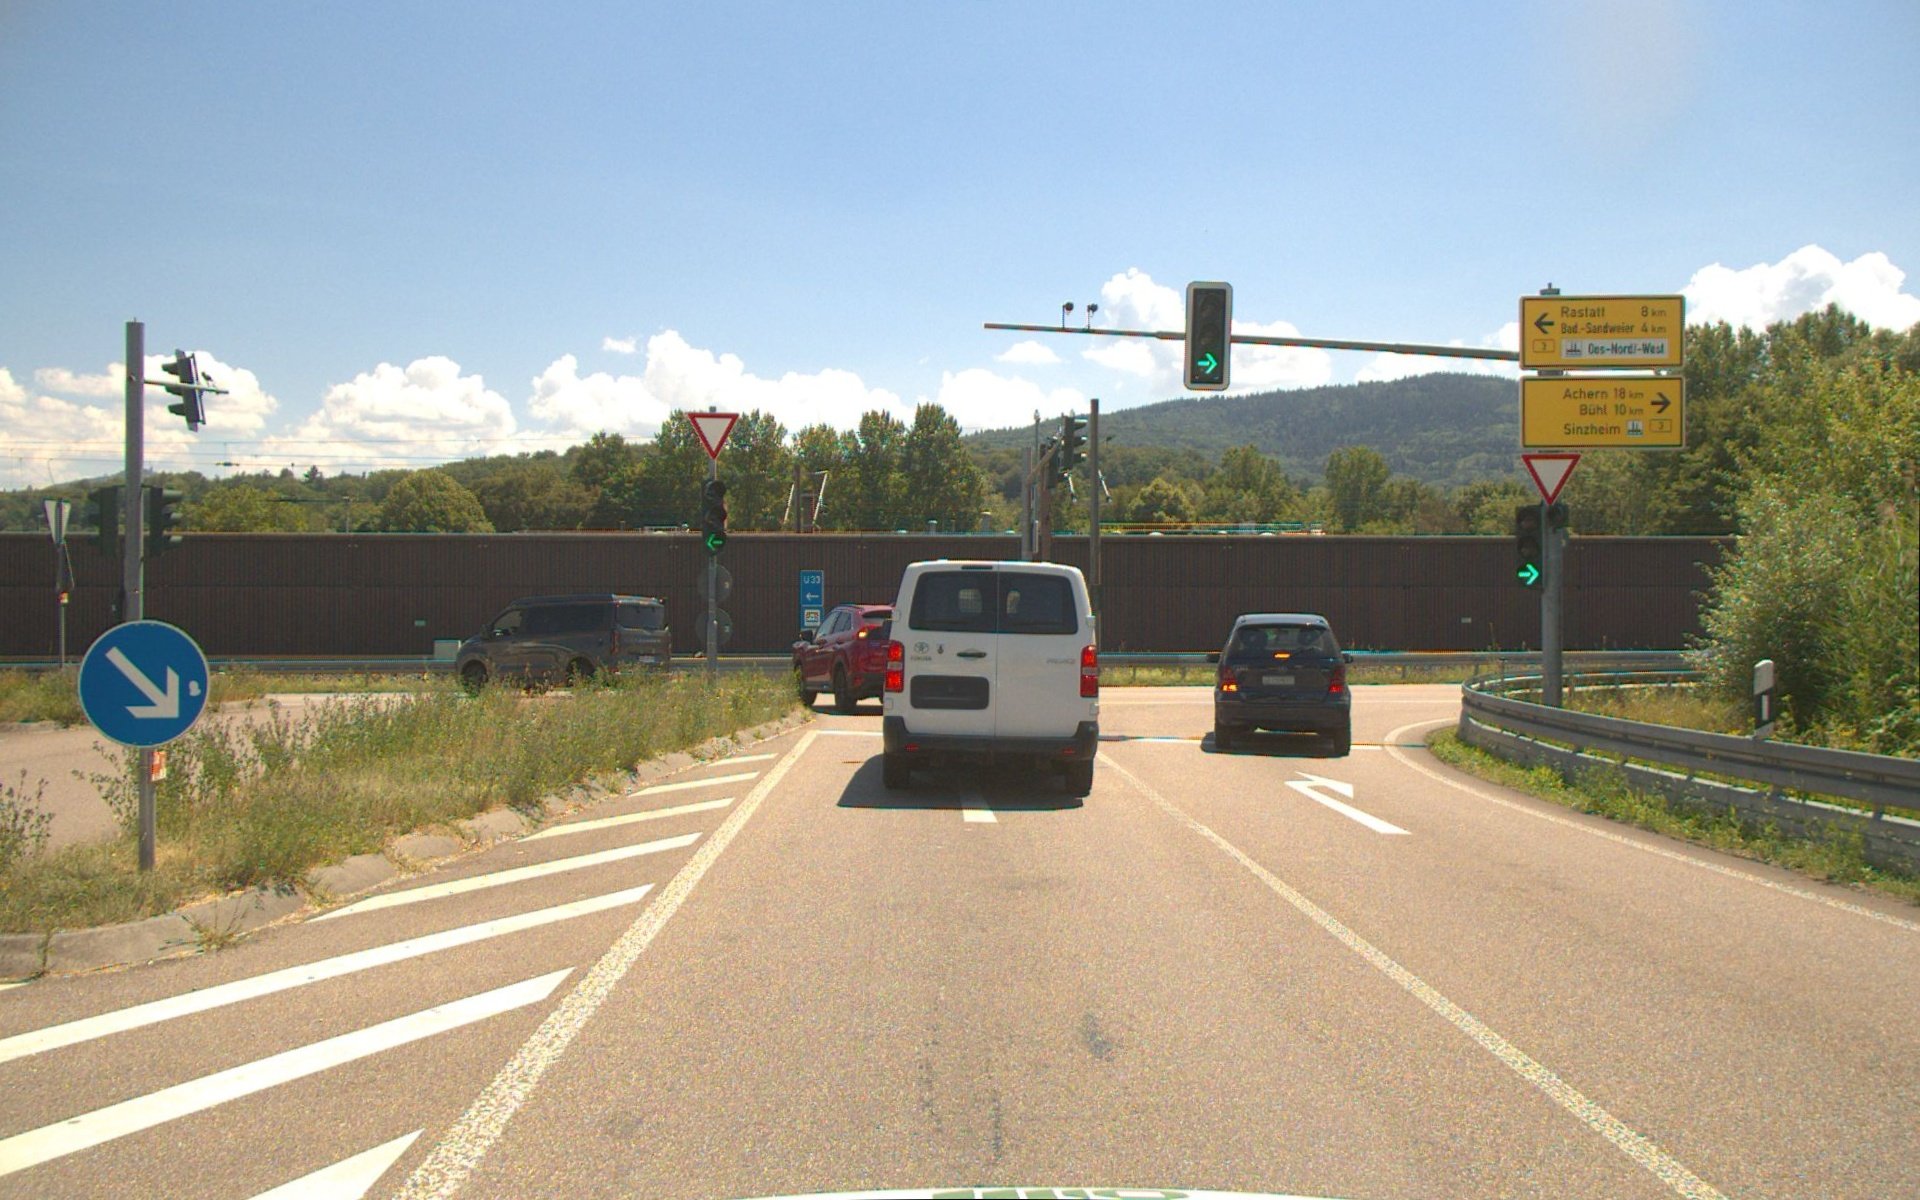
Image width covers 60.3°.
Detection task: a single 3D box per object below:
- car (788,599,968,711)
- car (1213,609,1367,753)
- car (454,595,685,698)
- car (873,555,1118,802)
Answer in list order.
[{"bbox_3d":[-1.423,0.897,27.014,1.877,1.678,4.118,0,-2,-19],"label":"car"},{"bbox_3d":[4.101,0.959,20.971,1.603,1.625,3.563,1,-1,7],"label":"car"},{"bbox_3d":[-8.260,0.995,34.906,4.678,2.058,2.010,-1,-2,30],"label":"car"},{"bbox_3d":[0.325,0.649,15.574,1.905,1.914,4.881,1,-1,1],"label":"car"}]
